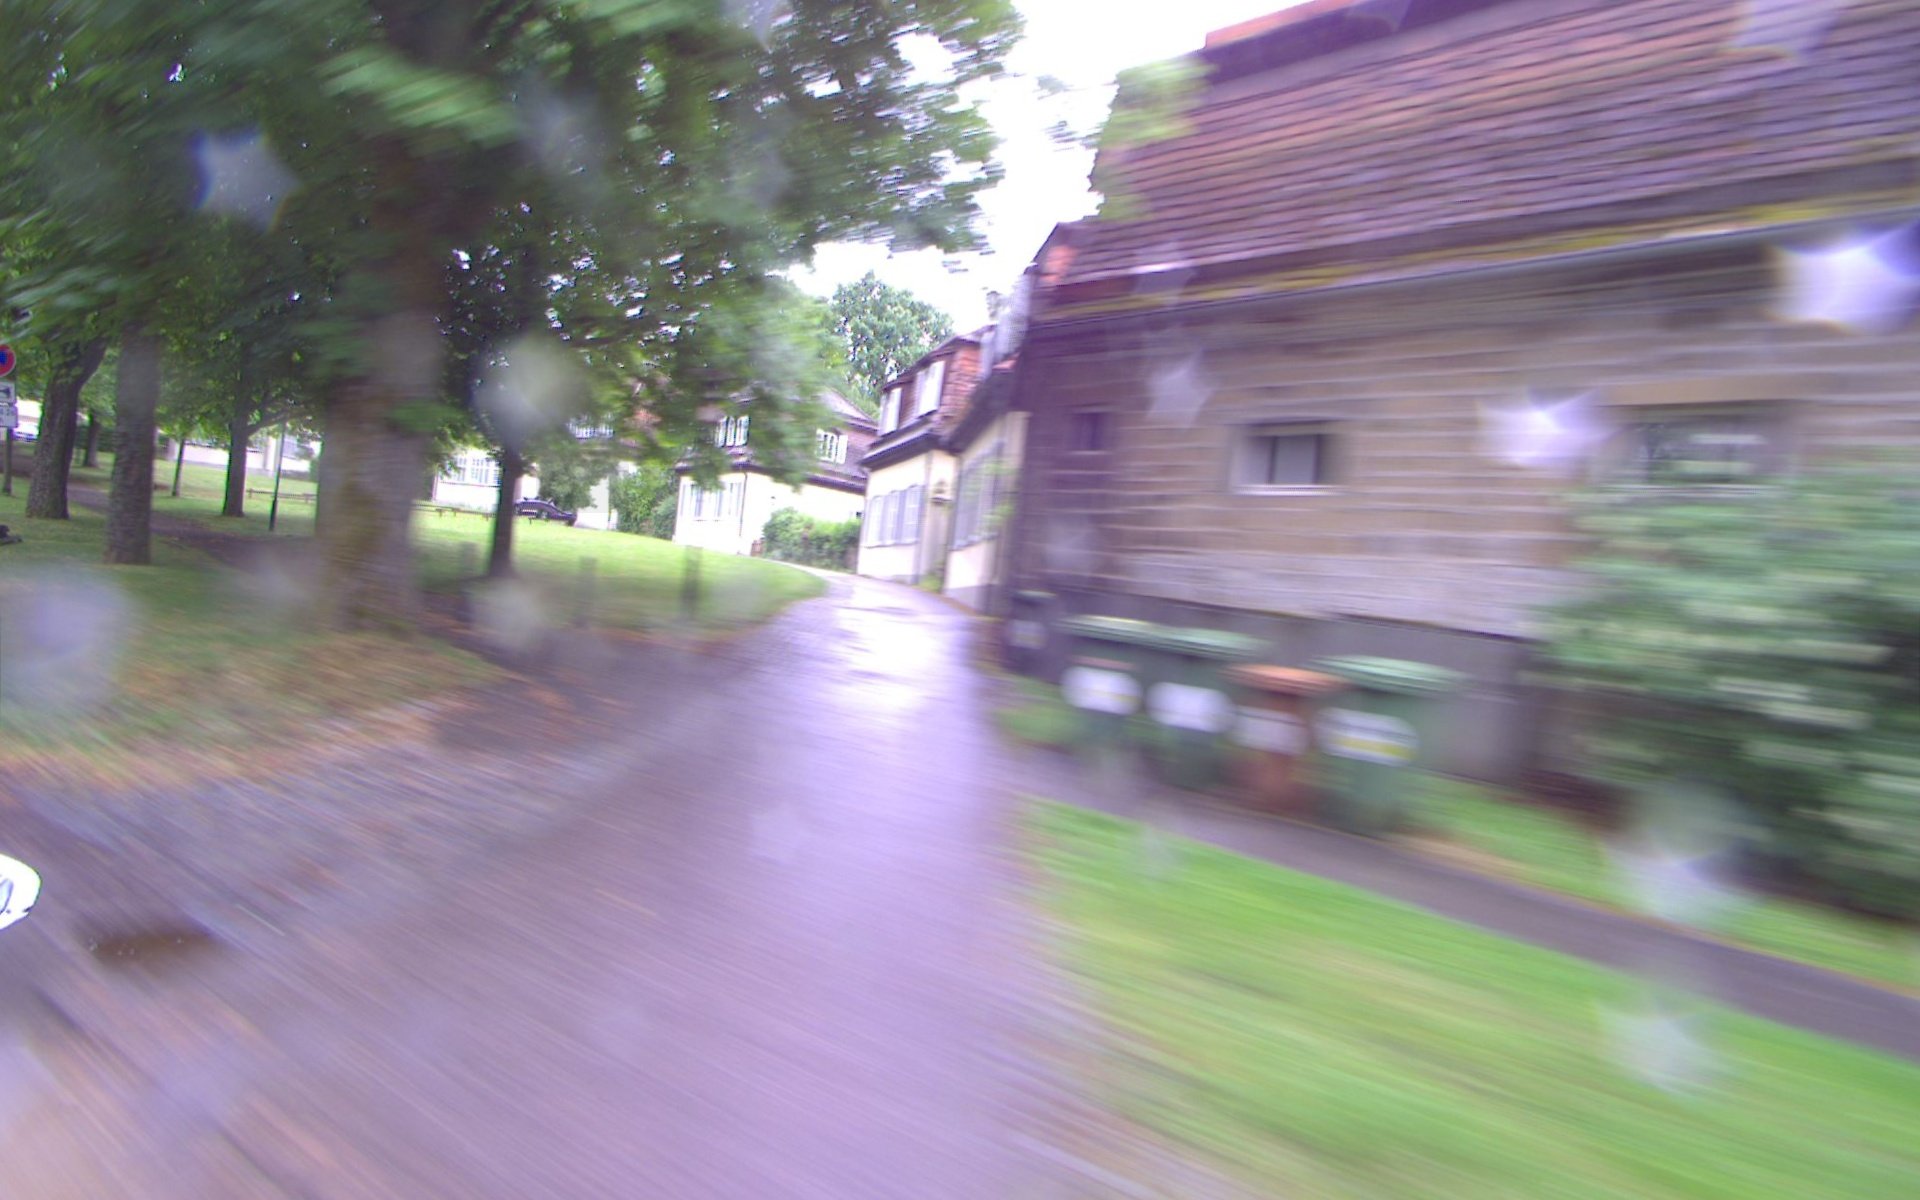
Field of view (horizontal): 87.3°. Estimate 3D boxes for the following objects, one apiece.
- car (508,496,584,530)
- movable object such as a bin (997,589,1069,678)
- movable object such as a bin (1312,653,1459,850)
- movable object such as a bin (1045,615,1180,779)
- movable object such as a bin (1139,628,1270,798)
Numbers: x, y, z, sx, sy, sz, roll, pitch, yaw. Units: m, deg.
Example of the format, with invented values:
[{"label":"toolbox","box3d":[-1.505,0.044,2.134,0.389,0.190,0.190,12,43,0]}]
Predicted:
[{"label":"car","box3d":[-23.805,-5.017,57.793,4.436,1.529,1.990,8,5,35]},{"label":"movable object such as a bin","box3d":[0.817,0.359,11.213,0.526,0.920,0.548,8,8,43]},{"label":"movable object such as a bin","box3d":[2.674,0.915,6.320,0.568,1.055,0.692,8,8,43]},{"label":"movable object such as a bin","box3d":[1.128,0.684,7.450,0.651,1.055,0.692,8,8,43]},{"label":"movable object such as a bin","box3d":[1.737,0.768,7.135,0.568,1.055,0.692,8,8,43]}]
